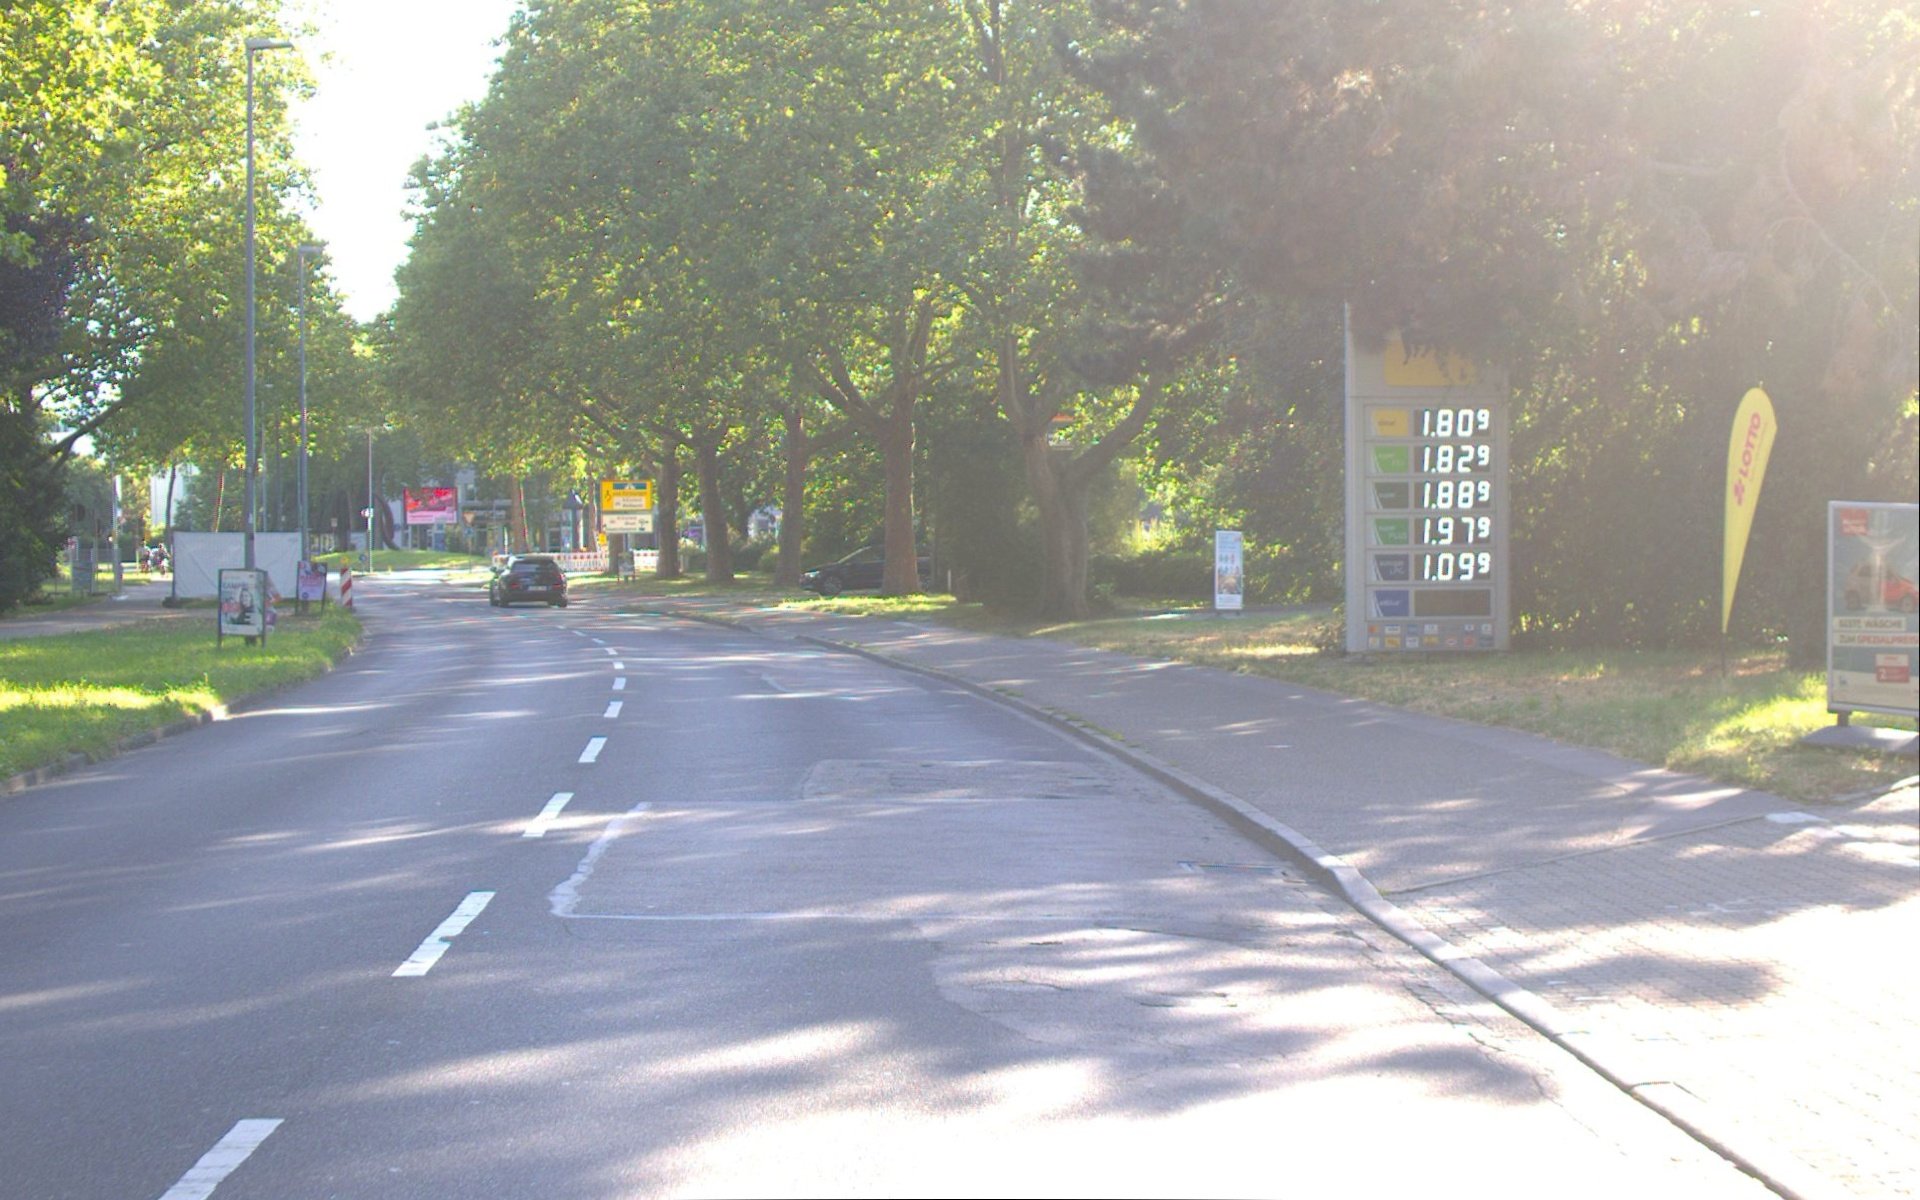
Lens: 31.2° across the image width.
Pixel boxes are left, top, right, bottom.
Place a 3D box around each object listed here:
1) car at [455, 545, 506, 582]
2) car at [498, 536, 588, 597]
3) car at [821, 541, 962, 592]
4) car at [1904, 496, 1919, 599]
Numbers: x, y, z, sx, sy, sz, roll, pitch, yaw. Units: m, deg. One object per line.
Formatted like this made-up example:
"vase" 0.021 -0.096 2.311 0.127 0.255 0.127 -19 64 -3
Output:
"car" -26.824 -2.031 192.427 1.994 2.007 4.000 0 1 5
"car" -11.295 -0.928 93.346 1.839 1.600 3.862 0 1 2
"car" -2.061 -1.013 102.832 3.986 1.438 1.761 -1 1 -9
"car" 14.224 -0.703 46.159 1.841 1.415 4.001 0 1 -2
